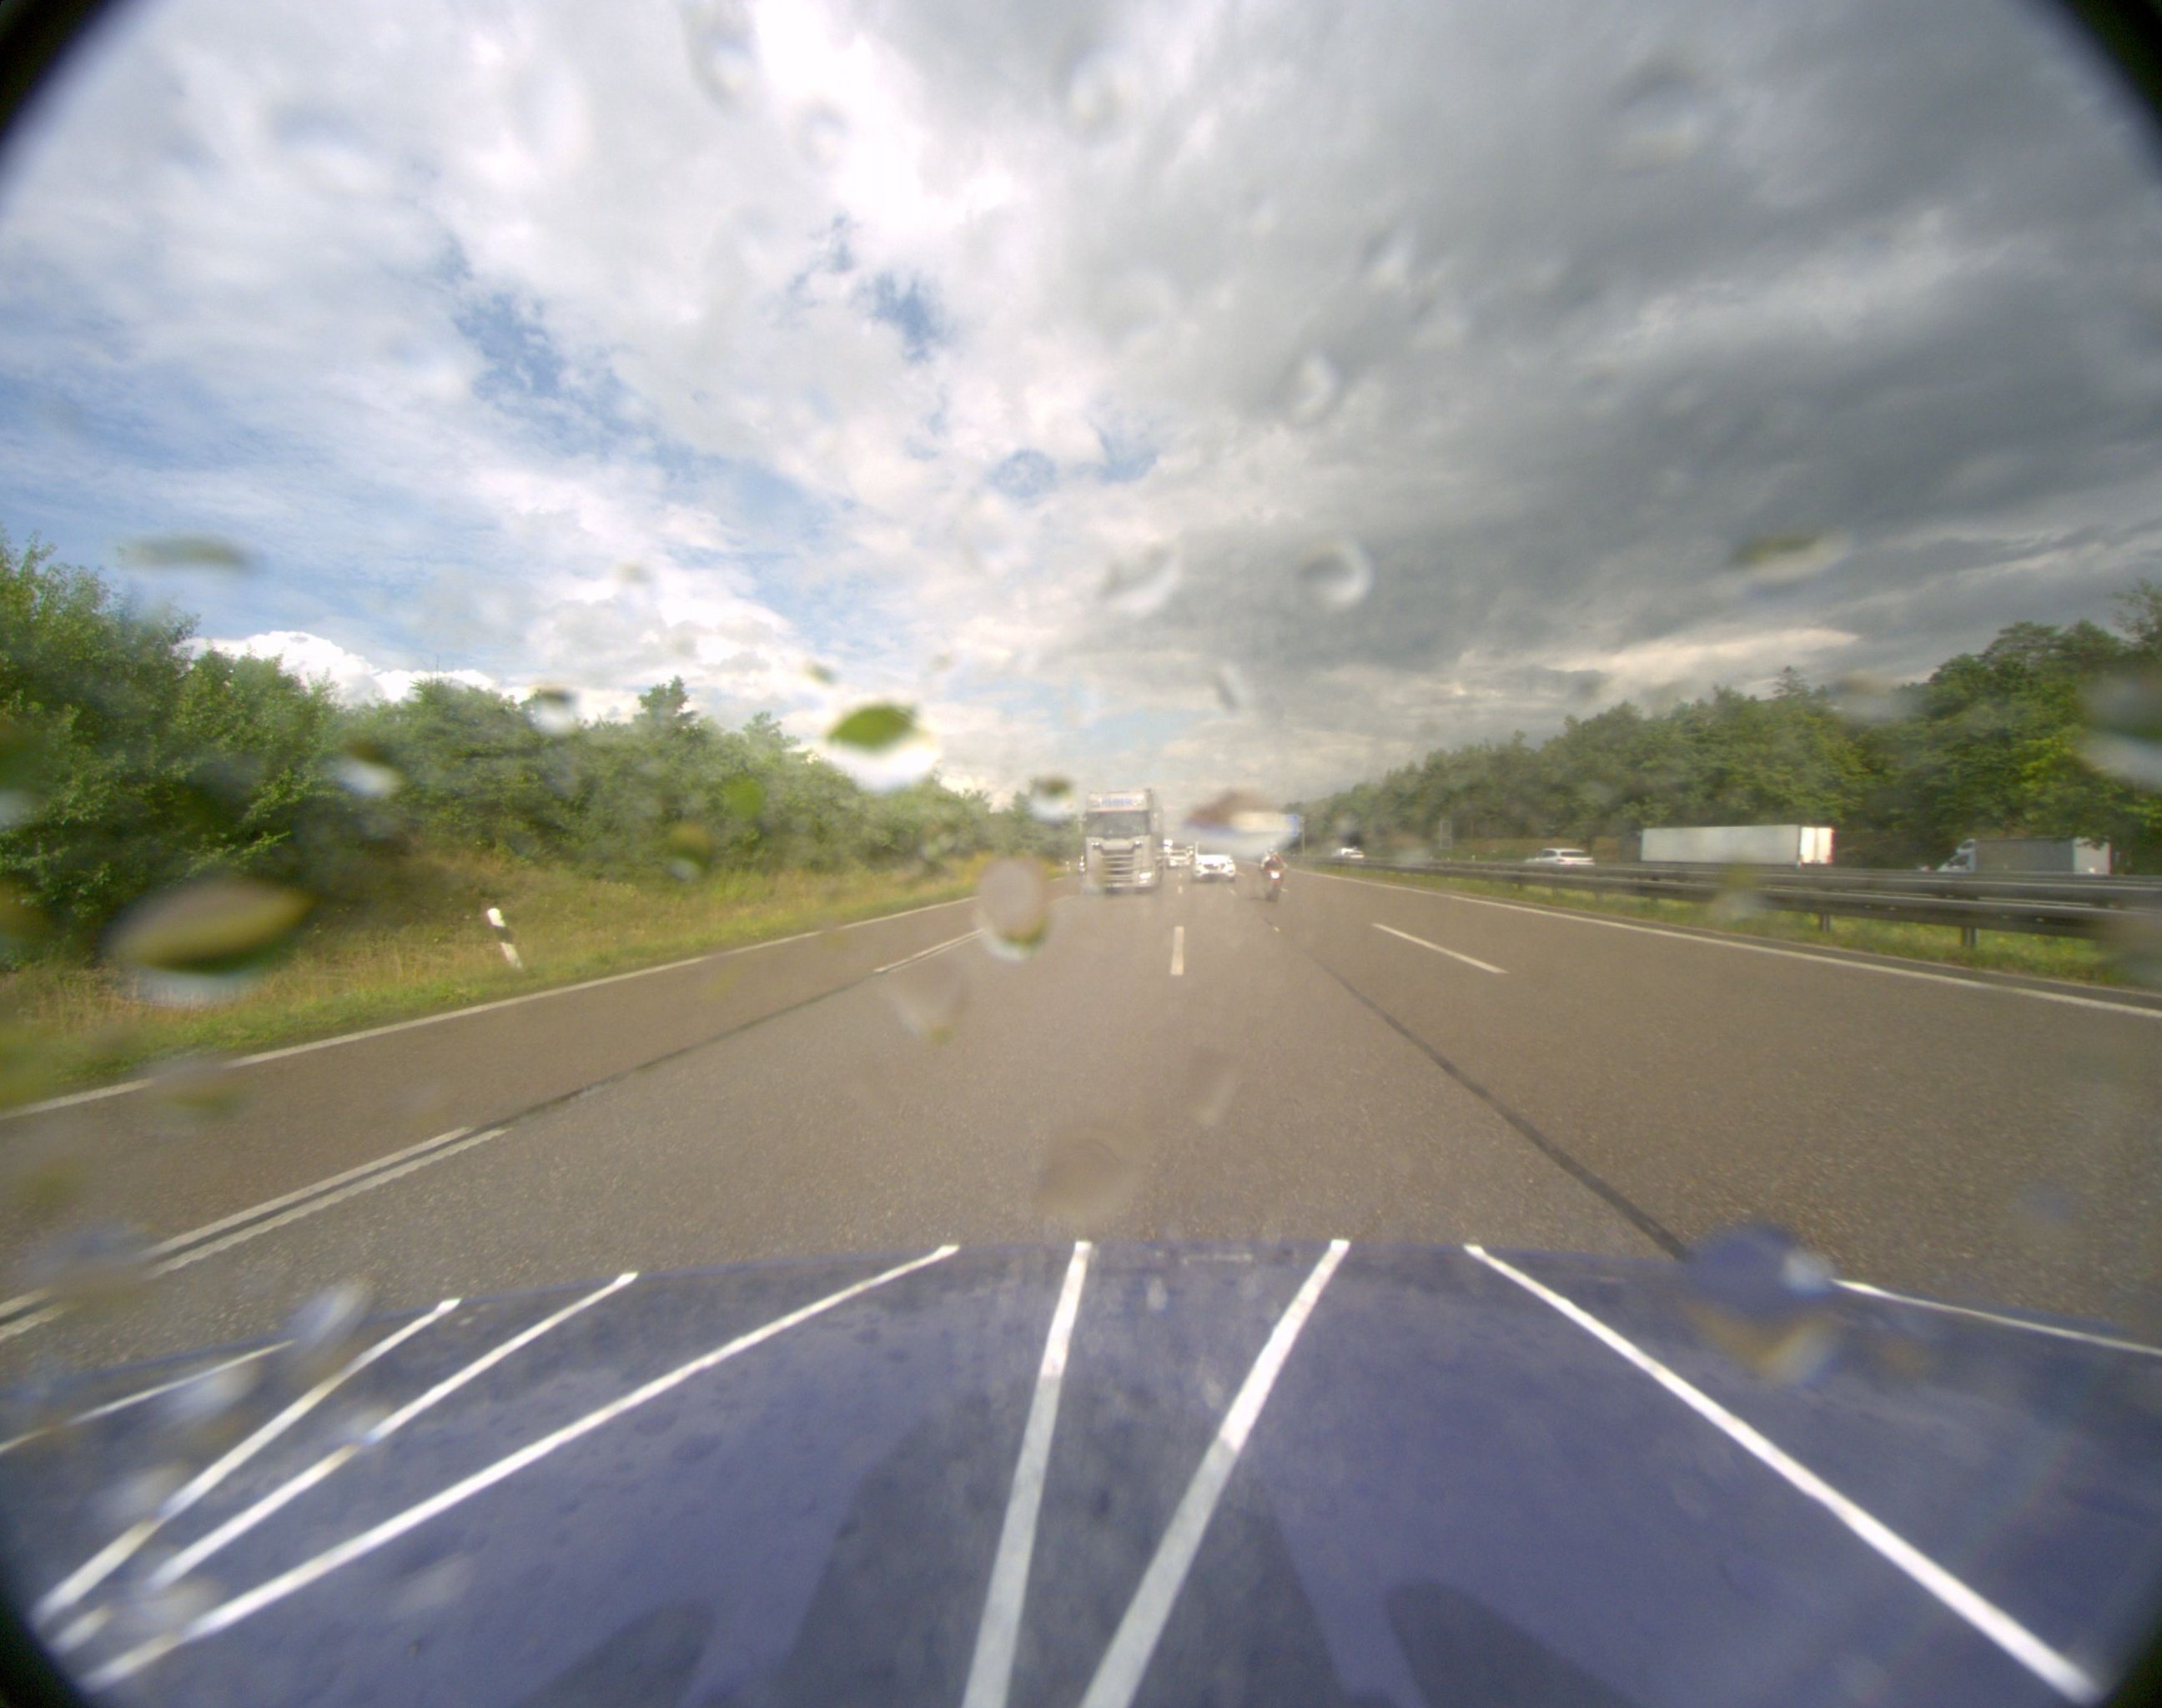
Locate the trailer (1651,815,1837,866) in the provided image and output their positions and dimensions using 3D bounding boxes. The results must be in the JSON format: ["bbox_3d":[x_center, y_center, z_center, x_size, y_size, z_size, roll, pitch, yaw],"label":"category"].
[{"bbox_3d":[52.972,-1.053,61.566,3.214,3.717,12.561,-1,1,-6],"label":"trailer"}]

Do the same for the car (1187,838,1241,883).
[{"bbox_3d":[6.445,0.253,37.447,2.348,2.033,5.145,-2,1,8],"label":"car"}]

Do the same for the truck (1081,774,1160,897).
[{"bbox_3d":[1.669,-0.715,30.256,2.649,4.250,6.886,-2,1,5],"label":"truck"}]

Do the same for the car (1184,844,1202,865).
[{"bbox_3d":[11.890,0.012,80.949,1.834,2.033,4.781,-2,1,8],"label":"car"}]

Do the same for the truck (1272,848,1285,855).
[{"bbox_3d":[38.280,-0.500,147.306,1.892,1.187,4.001,-2,1,7],"label":"truck"}]

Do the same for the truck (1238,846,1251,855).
[{"bbox_3d":[36.734,-0.838,170.806,2.261,1.884,5.448,-2,1,8],"label":"truck"}]

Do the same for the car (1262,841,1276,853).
[{"bbox_3d":[32.776,-1.304,132.698,1.834,2.033,4.781,-2,1,8],"label":"car"}]

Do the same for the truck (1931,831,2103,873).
[{"bbox_3d":[55.102,-0.115,45.019,2.124,2.252,6.315,-2,1,-5],"label":"truck"}]

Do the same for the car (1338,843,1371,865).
[{"bbox_3d":[25.029,-0.053,69.759,1.834,1.880,4.781,-2,1,8],"label":"car"}]

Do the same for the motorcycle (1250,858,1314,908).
[{"bbox_3d":[5.652,0.779,21.649,1.187,1.219,3.195,-2,1,5],"label":"motorcycle"}]

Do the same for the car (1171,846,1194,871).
[{"bbox_3d":[8.917,0.327,66.745,1.834,2.033,4.781,-2,1,8],"label":"car"}]

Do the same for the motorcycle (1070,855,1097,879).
[{"bbox_3d":[0.164,0.700,41.315,1.187,1.142,3.195,-2,1,5],"label":"motorcycle"}]

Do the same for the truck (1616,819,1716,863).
[{"bbox_3d":[52.224,-1.138,68.108,3.217,3.683,6.911,-2,1,-6],"label":"truck"}]

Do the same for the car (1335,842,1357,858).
[{"bbox_3d":[35.892,-0.554,102.865,1.834,2.033,4.781,-2,1,8],"label":"car"}]

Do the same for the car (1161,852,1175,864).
[{"bbox_3d":[16.414,0.702,142.821,2.348,2.033,5.145,-2,1,8],"label":"car"}]

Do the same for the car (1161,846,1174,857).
[{"bbox_3d":[17.007,-0.464,148.421,2.348,2.033,5.145,-2,1,8],"label":"car"}]

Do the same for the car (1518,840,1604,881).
[{"bbox_3d":[24.314,0.276,38.696,1.834,1.880,4.781,-2,1,8],"label":"car"}]

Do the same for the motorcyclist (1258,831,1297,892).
[{"bbox_3d":[5.653,0.211,21.890,0.883,1.696,1.001,-2,1,5],"label":"motorcyclist"}]

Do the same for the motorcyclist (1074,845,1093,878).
[{"bbox_3d":[0.143,0.397,40.949,0.883,1.696,1.001,-2,1,5],"label":"motorcyclist"}]

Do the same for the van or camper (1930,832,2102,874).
[{"bbox_3d":[55.039,-0.113,45.015,2.124,2.252,6.320,-2,1,-5],"label":"van or camper"}]
